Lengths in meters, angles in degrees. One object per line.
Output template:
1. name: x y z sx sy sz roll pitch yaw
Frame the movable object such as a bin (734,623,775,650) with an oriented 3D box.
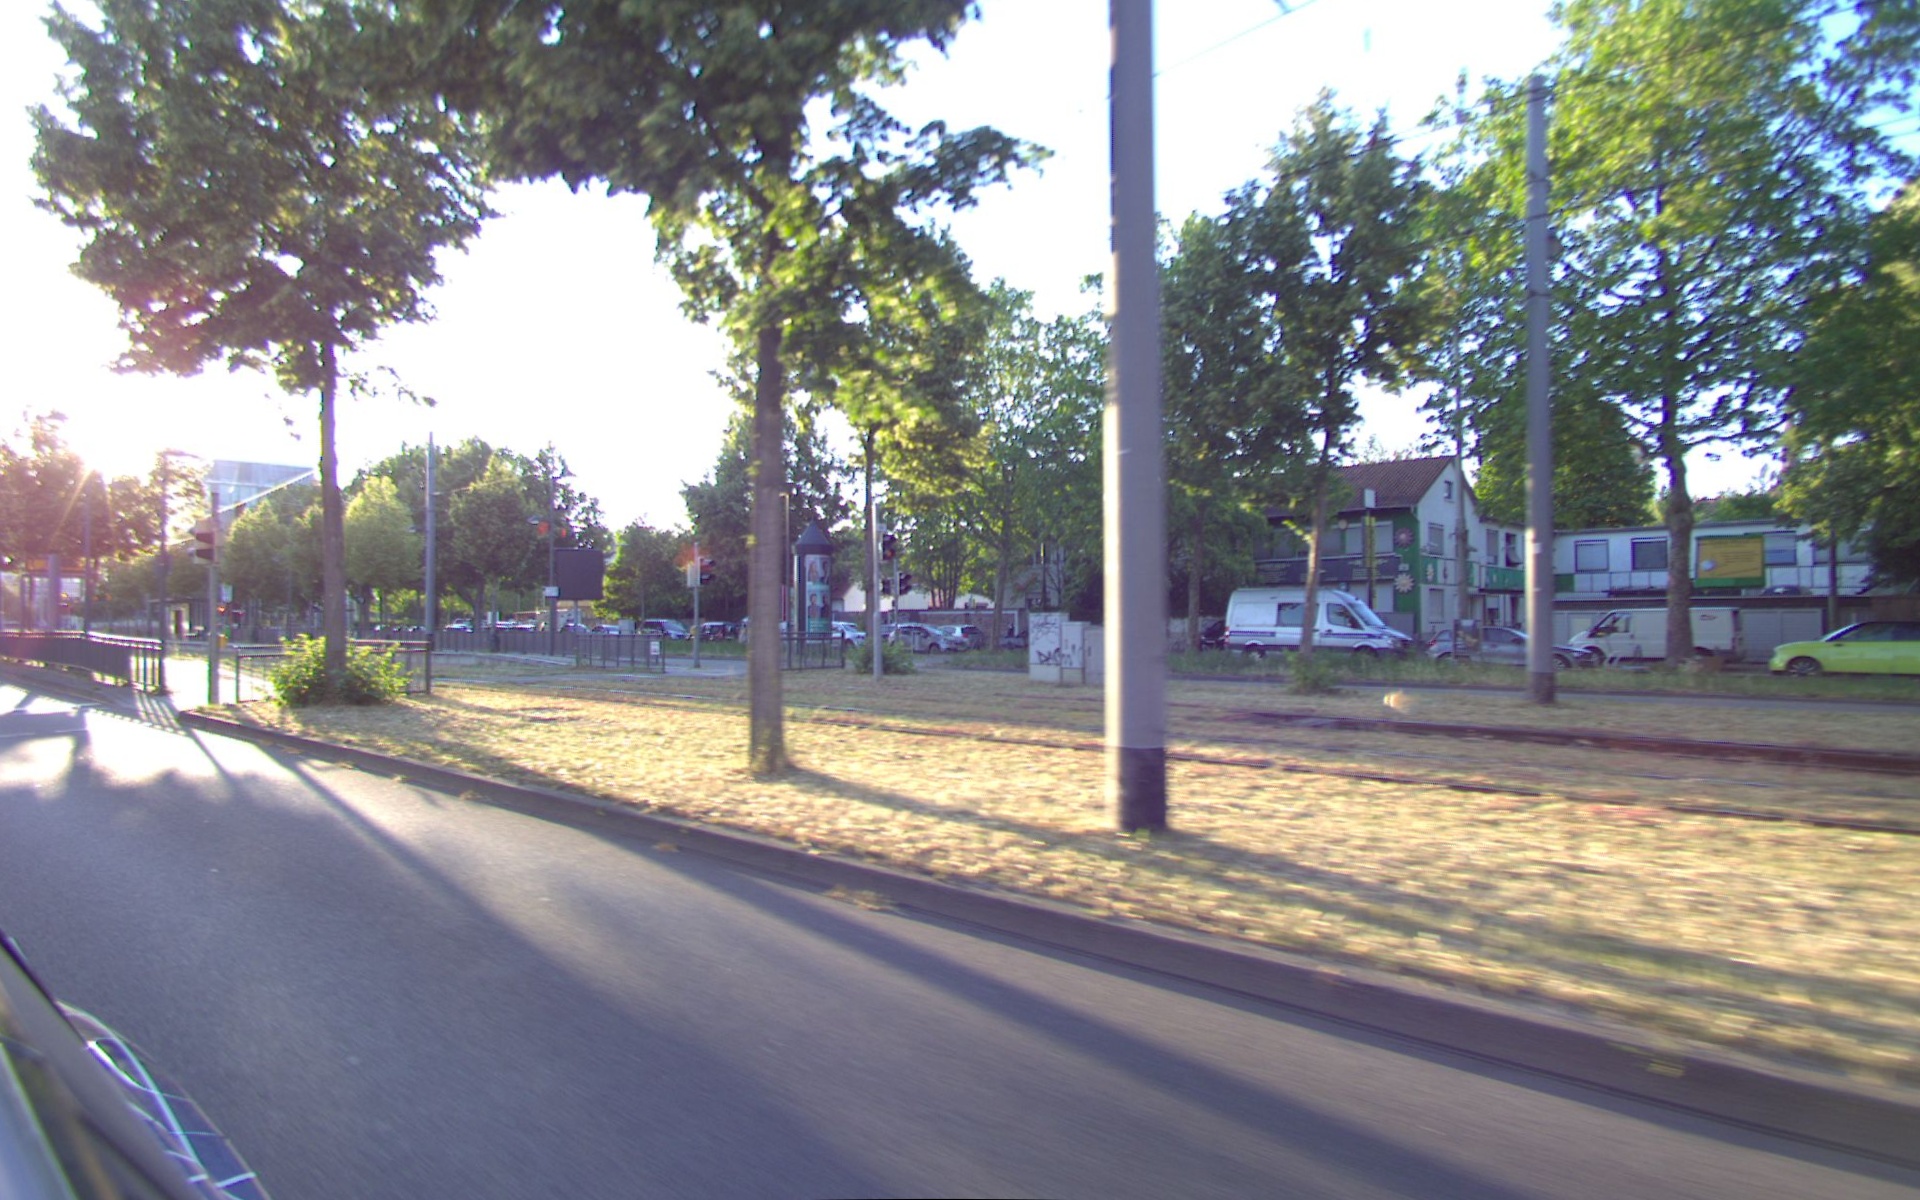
1. movable object such as a bin: -10.992 1.935 54.078 1.701 1.422 1.393 -1 -2 42

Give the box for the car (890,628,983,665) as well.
1. car: -1.075 2.005 44.823 4.053 1.543 1.790 -1 -2 43

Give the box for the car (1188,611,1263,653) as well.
1. car: 13.255 1.571 50.464 2.000 2.029 3.943 -2 -2 43

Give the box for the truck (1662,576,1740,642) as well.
1. truck: 41.760 0.535 56.939 6.591 3.546 2.293 1 -2 -43

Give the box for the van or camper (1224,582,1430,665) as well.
1. van or camper: 11.576 0.747 32.278 2.258 2.383 5.786 1 -2 -44

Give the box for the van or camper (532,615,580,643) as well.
1. van or camper: -38.074 2.694 95.281 2.363 2.583 5.638 1 -2 -43

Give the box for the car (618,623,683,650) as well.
1. car: -19.375 2.242 63.305 4.297 1.598 1.972 -1 -2 43

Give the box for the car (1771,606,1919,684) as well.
1. car: 20.651 0.968 22.481 3.999 1.652 1.972 -1 -2 42

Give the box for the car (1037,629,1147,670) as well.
1. car: 5.328 1.968 41.173 4.098 1.512 1.972 -1 -1 43

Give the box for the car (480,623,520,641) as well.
1. car: -40.158 2.802 88.322 1.970 1.541 4.003 1 -2 -44

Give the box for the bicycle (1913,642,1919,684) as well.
1. bicycle: 26.231 1.670 26.342 0.722 1.099 2.018 1 -2 -43

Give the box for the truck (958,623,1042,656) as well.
1. truck: 2.090 2.088 54.275 4.295 1.703 1.971 -2 -2 44

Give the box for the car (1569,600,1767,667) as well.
1. car: 23.147 1.071 33.229 5.060 2.029 1.971 -2 -2 45

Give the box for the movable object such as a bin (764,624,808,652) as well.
1. movable object such as a bin: -8.944 1.933 51.978 1.724 1.383 1.536 -1 -2 42

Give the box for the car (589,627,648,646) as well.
1. car: -22.474 2.403 66.627 4.089 1.210 1.972 -1 -2 43

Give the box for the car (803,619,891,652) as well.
1. car: -5.526 1.707 49.222 4.298 1.512 1.972 -1 -2 43

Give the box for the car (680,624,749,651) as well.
1. car: -14.079 2.144 58.015 4.000 1.459 1.972 -1 -2 43

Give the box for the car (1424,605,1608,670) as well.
1. car: 15.420 1.012 28.155 4.205 1.649 1.973 -1 -2 40
